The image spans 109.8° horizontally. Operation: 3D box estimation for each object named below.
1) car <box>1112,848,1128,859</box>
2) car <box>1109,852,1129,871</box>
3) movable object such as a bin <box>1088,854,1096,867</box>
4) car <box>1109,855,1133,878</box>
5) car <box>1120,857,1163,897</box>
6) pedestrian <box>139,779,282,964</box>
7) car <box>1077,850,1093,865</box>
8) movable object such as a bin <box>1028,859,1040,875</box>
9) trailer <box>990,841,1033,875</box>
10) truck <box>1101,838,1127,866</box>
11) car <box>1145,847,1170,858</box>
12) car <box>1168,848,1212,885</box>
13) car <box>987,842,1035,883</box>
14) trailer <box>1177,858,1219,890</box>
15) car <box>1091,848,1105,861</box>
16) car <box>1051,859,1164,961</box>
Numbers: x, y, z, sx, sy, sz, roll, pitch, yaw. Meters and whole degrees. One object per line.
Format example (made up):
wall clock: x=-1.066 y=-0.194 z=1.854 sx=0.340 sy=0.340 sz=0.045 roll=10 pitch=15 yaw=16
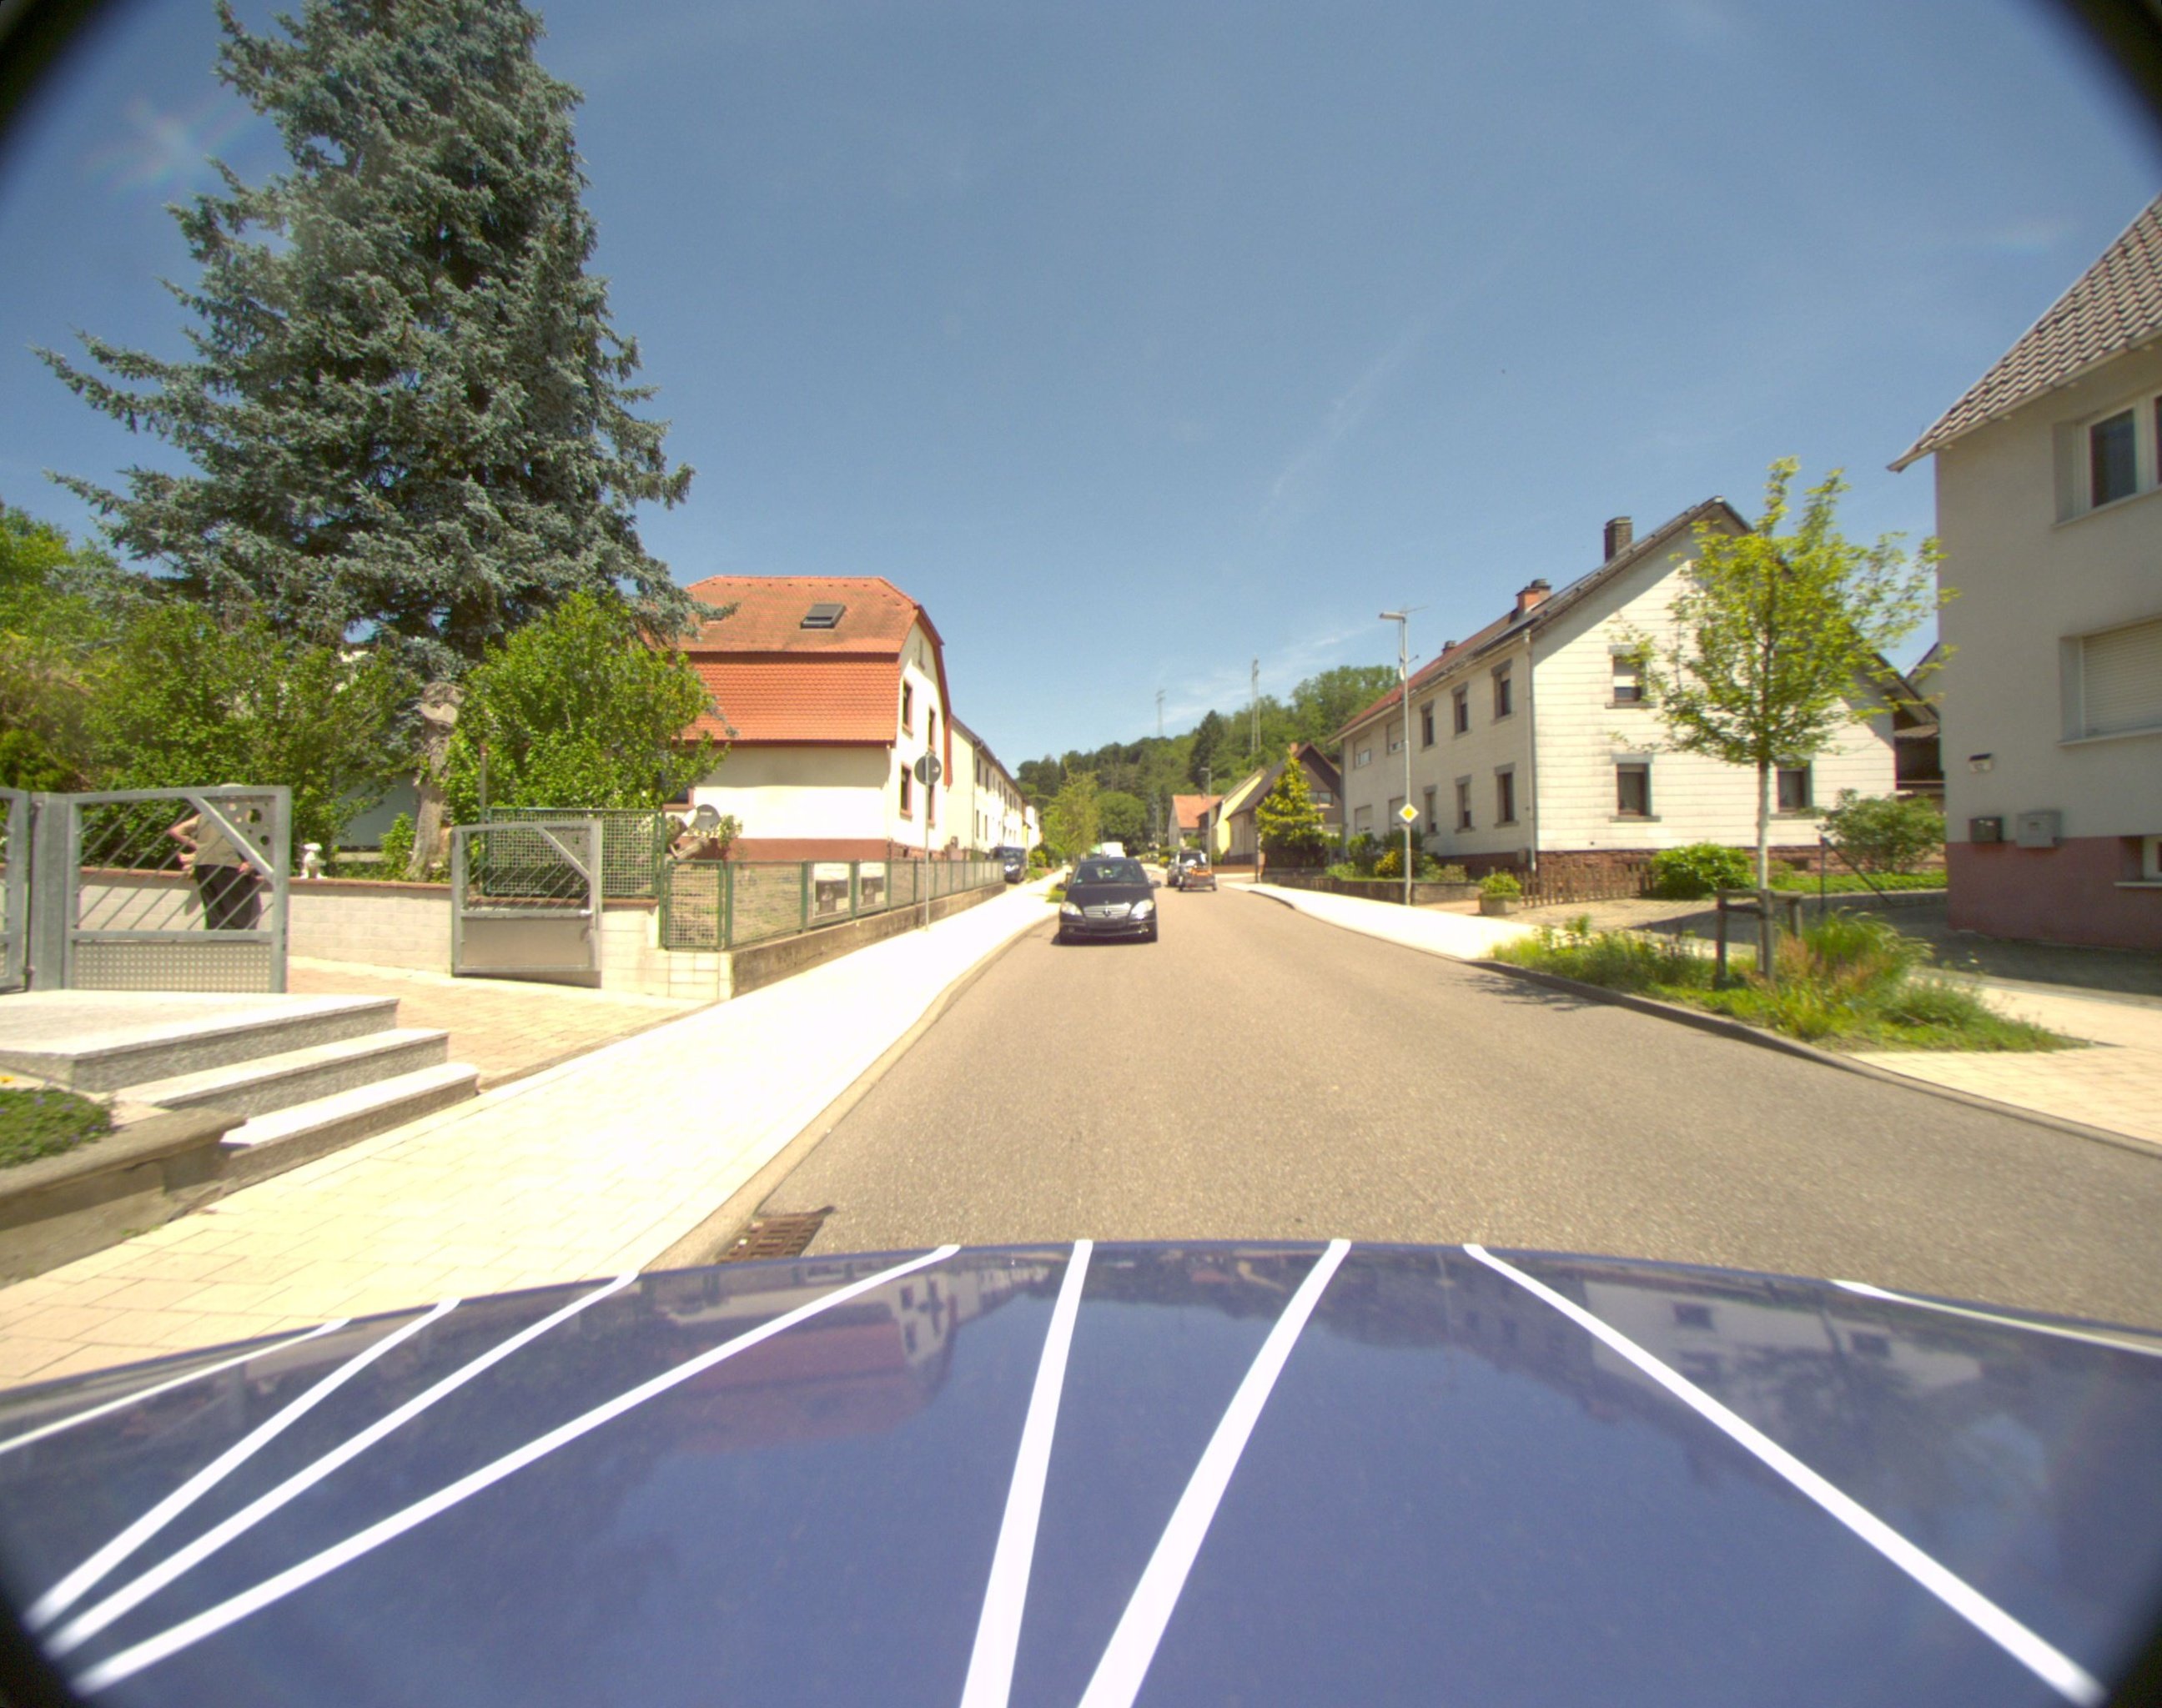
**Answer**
car: x=7.312 y=-0.153 z=142.060 sx=1.706 sy=1.937 sz=3.994 roll=-2 pitch=1 yaw=-17
car: x=3.836 y=0.710 z=76.812 sx=1.968 sy=1.823 sz=4.465 roll=0 pitch=0 yaw=2
movable object such as a bin: x=1.129 y=0.683 z=79.603 sx=0.794 sy=1.387 sz=0.925 roll=-1 pitch=1 yaw=-2
car: x=2.979 y=0.929 z=57.167 sx=1.714 sy=1.595 sz=3.880 roll=-2 pitch=0 yaw=3
car: x=2.583 y=0.964 z=33.168 sx=1.714 sy=1.595 sz=3.880 roll=-2 pitch=0 yaw=3
pedestrian: x=-8.048 y=0.156 z=7.043 sx=0.605 sy=1.606 sz=0.552 roll=4 pitch=1 yaw=1
car: x=0.521 y=0.437 z=100.673 sx=1.860 sy=1.832 sz=4.669 roll=1 pitch=0 yaw=-2
movable object such as a bin: x=-3.444 y=0.926 z=55.637 sx=0.685 sy=1.109 sz=0.812 roll=3 pitch=1 yaw=7
trailer: x=-4.227 y=0.261 z=46.342 sx=1.320 sy=2.002 sz=2.278 roll=-1 pitch=1 yaw=43
truck: x=4.301 y=-0.232 z=99.655 sx=2.806 sy=3.394 sz=8.118 roll=1 pitch=0 yaw=-1
car: x=14.020 y=-0.253 z=139.321 sx=4.004 sy=1.779 sz=1.808 roll=-2 pitch=0 yaw=-22
car: x=5.730 y=0.641 z=40.539 sx=1.894 sy=1.850 sz=4.579 roll=-1 pitch=0 yaw=3
car: x=-3.723 y=0.440 z=41.171 sx=1.856 sy=1.959 sz=4.774 roll=6 pitch=0 yaw=2
trailer: x=5.548 y=0.926 z=36.460 sx=1.578 sy=1.387 sz=4.403 roll=-1 pitch=0 yaw=3
car: x=2.596 y=0.065 z=117.200 sx=1.998 sy=1.805 sz=4.001 roll=-1 pitch=0 yaw=3
car: x=0.536 y=0.932 z=14.453 sx=1.790 sy=1.595 sz=4.076 roll=-2 pitch=0 yaw=3
